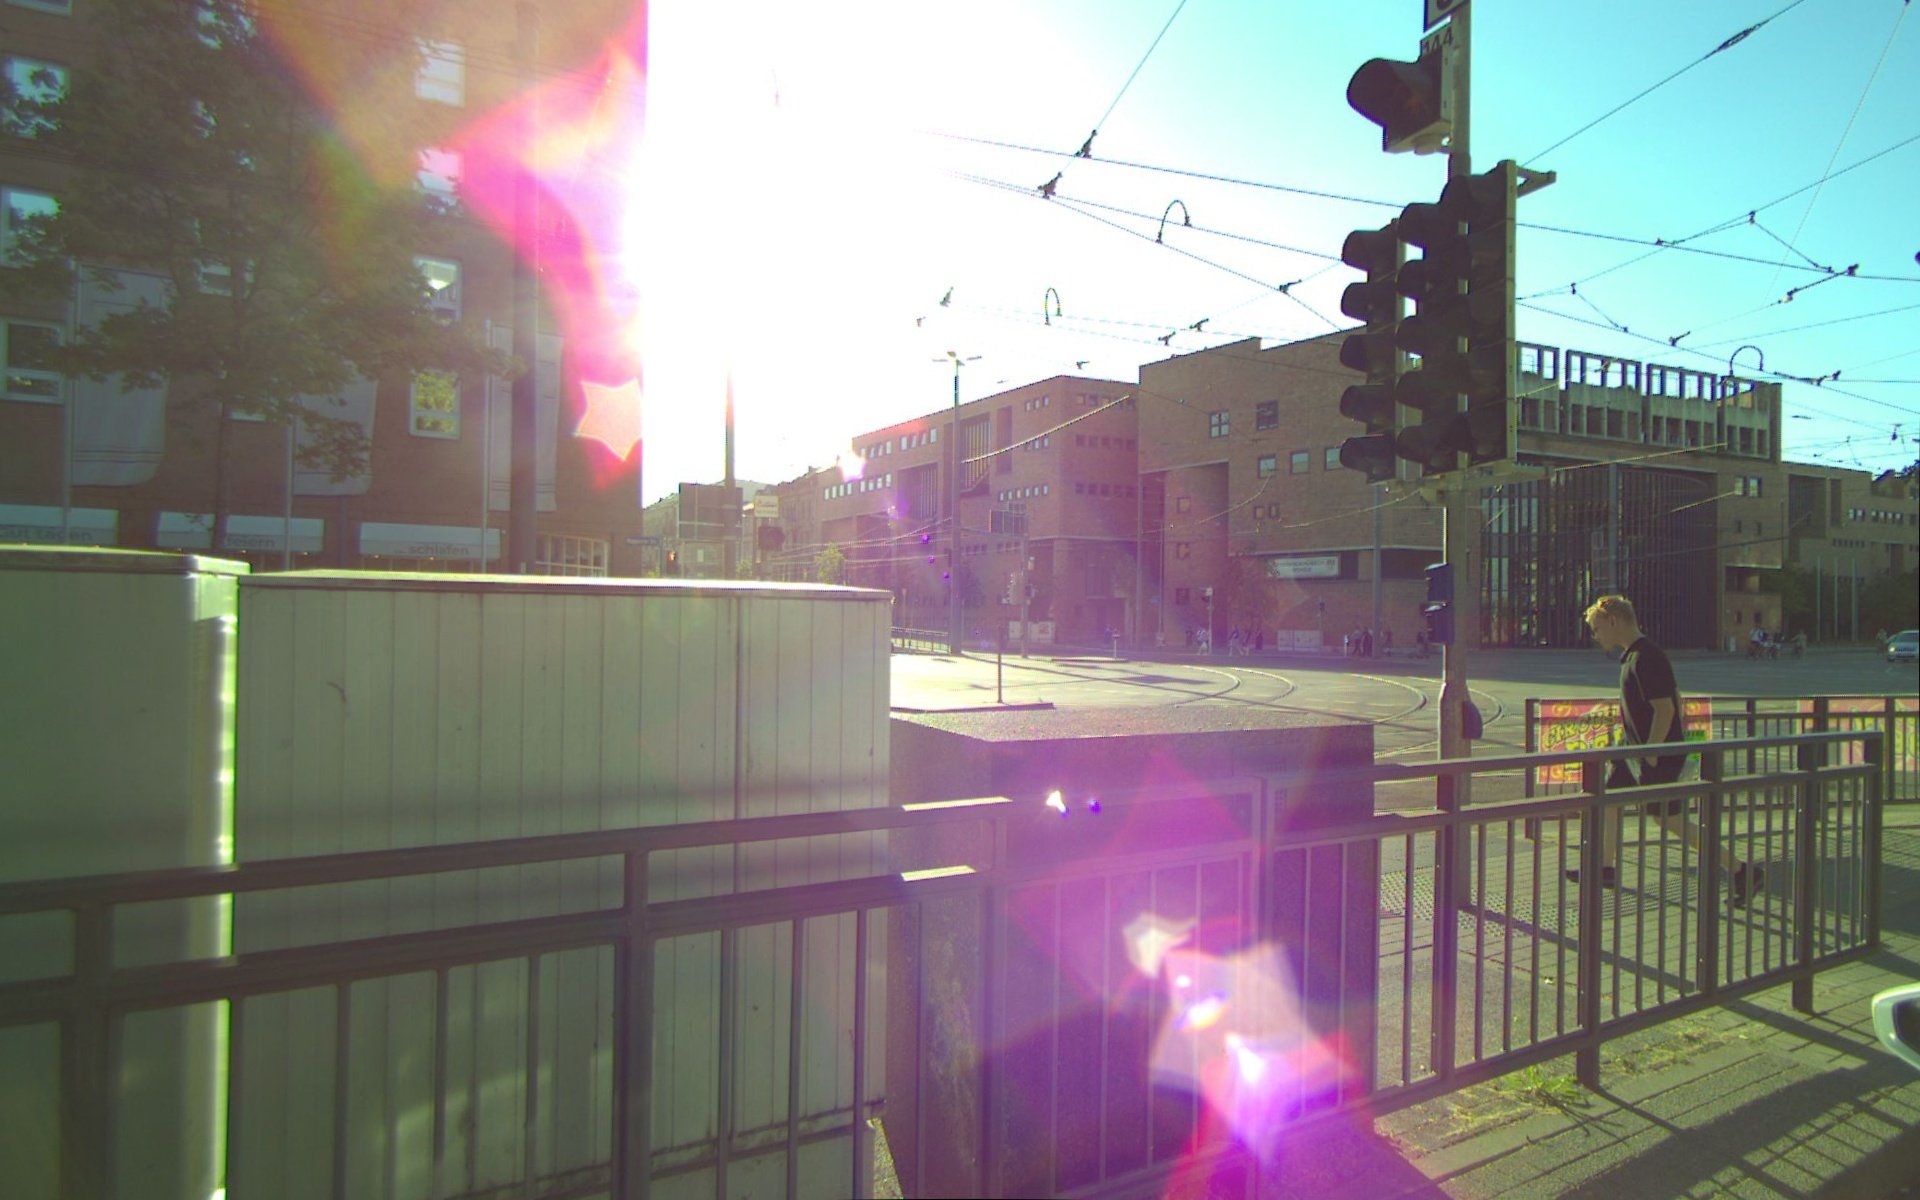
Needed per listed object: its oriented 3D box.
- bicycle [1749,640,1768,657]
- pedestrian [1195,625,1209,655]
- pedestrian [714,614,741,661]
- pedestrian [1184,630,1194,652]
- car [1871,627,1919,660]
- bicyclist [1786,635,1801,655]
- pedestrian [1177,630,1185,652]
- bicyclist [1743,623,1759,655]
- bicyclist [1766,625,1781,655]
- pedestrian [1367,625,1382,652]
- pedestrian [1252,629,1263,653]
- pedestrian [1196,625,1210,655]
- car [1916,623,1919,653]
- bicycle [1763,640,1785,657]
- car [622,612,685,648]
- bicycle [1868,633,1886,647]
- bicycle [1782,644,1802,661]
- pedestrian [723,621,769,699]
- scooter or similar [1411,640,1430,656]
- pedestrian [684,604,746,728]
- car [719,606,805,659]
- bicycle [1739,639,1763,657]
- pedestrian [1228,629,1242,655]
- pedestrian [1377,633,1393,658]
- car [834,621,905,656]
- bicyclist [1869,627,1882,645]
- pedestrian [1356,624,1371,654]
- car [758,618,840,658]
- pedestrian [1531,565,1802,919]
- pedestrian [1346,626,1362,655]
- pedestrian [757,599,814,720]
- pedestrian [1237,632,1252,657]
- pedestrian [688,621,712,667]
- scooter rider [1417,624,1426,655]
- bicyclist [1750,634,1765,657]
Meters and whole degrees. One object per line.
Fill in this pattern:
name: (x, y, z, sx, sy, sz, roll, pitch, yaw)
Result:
bicycle: (46.610, 2.840, 58.630, 1.304, 0.976, 0.465, 1, -1, -30)
pedestrian: (13.570, 2.242, 56.310, 0.579, 1.635, 0.597, 1, -1, -11)
pedestrian: (-10.560, 1.694, 45.586, 0.856, 2.040, 0.880, 2, 0, -39)
pedestrian: (15.267, 2.741, 66.893, 0.562, 1.428, 0.554, 0, -1, 4)
car: (48.983, 2.229, 51.782, 3.954, 1.661, 1.983, 1, -2, -31)
bicyclist: (49.392, 2.677, 59.542, 0.574, 1.194, 0.503, 1, -1, -30)
pedestrian: (14.779, 2.721, 67.148, 0.523, 1.482, 0.591, 0, -1, 13)
bicyclist: (44.374, 2.182, 56.365, 0.574, 1.754, 0.534, 1, -1, -30)
bicyclist: (45.043, 2.216, 55.627, 0.574, 1.624, 0.456, 1, -1, -30)
pedestrian: (24.781, 2.297, 60.021, 0.606, 1.647, 0.612, 1, -1, -33)
pedestrian: (19.100, 2.641, 64.436, 0.488, 1.526, 0.543, 1, -2, -43)
pedestrian: (13.384, 2.203, 55.396, 0.540, 1.670, 0.599, 1, -1, -15)
car: (55.252, 2.116, 55.896, 3.954, 1.661, 1.983, 1, -2, -31)
bicycle: (45.108, 2.683, 55.658, 1.557, 0.976, 0.470, 1, -1, -30)
car: (-18.590, 1.807, 60.805, 1.982, 2.122, 5.156, 1, -2, -38)
bicycle: (62.045, 2.704, 67.986, 1.469, 0.976, 0.489, 1, -1, -30)
bicycle: (49.271, 3.082, 59.482, 1.332, 0.976, 0.449, 1, -1, -30)
pedestrian: (-4.707, 1.291, 22.081, 0.709, 1.669, 0.953, 1, -1, -30)
scooter or similar: (25.378, 2.643, 55.376, 0.931, 0.911, 0.176, 0, -1, 14)
pedestrian: (-3.767, 0.995, 15.431, 0.713, 1.837, 0.904, 1, -1, -28)
car: (-9.532, 1.521, 48.055, 1.982, 2.419, 5.156, 1, -2, -38)
bicycle: (44.420, 2.700, 56.386, 1.568, 0.976, 0.539, 1, -1, -30)
pedestrian: (15.588, 2.383, 56.910, 0.604, 1.473, 0.568, 1, -1, -13)
pedestrian: (24.634, 2.648, 58.233, 0.635, 1.440, 0.594, 1, -1, -34)
car: (-4.735, 1.976, 52.076, 1.980, 1.572, 3.961, 2, 0, -35)
bicyclist: (62.047, 2.429, 68.077, 0.574, 1.226, 0.503, 1, -1, -30)
pedestrian: (23.159, 2.260, 57.653, 0.587, 1.706, 0.545, 1, -1, -38)
car: (-8.343, 1.910, 51.705, 1.982, 1.928, 5.156, 1, -2, -38)
pedestrian: (3.843, 0.708, 5.572, 1.071, 1.772, 0.742, 1, 0, 23)
pedestrian: (23.207, 2.390, 59.124, 0.645, 1.706, 0.616, 1, -1, -36)
pedestrian: (-2.776, 0.928, 15.947, 0.647, 1.864, 0.835, 1, -1, -28)
pedestrian: (15.568, 2.435, 54.975, 0.668, 1.357, 0.604, 0, -1, 0)
pedestrian: (-9.446, 1.594, 36.465, 0.658, 1.669, 0.638, 1, -1, -34)
scooter rider: (25.431, 2.166, 55.391, 0.429, 1.669, 0.229, 0, -1, 15)
bicyclist: (46.556, 2.677, 58.635, 0.574, 1.321, 0.503, 1, -1, -30)
